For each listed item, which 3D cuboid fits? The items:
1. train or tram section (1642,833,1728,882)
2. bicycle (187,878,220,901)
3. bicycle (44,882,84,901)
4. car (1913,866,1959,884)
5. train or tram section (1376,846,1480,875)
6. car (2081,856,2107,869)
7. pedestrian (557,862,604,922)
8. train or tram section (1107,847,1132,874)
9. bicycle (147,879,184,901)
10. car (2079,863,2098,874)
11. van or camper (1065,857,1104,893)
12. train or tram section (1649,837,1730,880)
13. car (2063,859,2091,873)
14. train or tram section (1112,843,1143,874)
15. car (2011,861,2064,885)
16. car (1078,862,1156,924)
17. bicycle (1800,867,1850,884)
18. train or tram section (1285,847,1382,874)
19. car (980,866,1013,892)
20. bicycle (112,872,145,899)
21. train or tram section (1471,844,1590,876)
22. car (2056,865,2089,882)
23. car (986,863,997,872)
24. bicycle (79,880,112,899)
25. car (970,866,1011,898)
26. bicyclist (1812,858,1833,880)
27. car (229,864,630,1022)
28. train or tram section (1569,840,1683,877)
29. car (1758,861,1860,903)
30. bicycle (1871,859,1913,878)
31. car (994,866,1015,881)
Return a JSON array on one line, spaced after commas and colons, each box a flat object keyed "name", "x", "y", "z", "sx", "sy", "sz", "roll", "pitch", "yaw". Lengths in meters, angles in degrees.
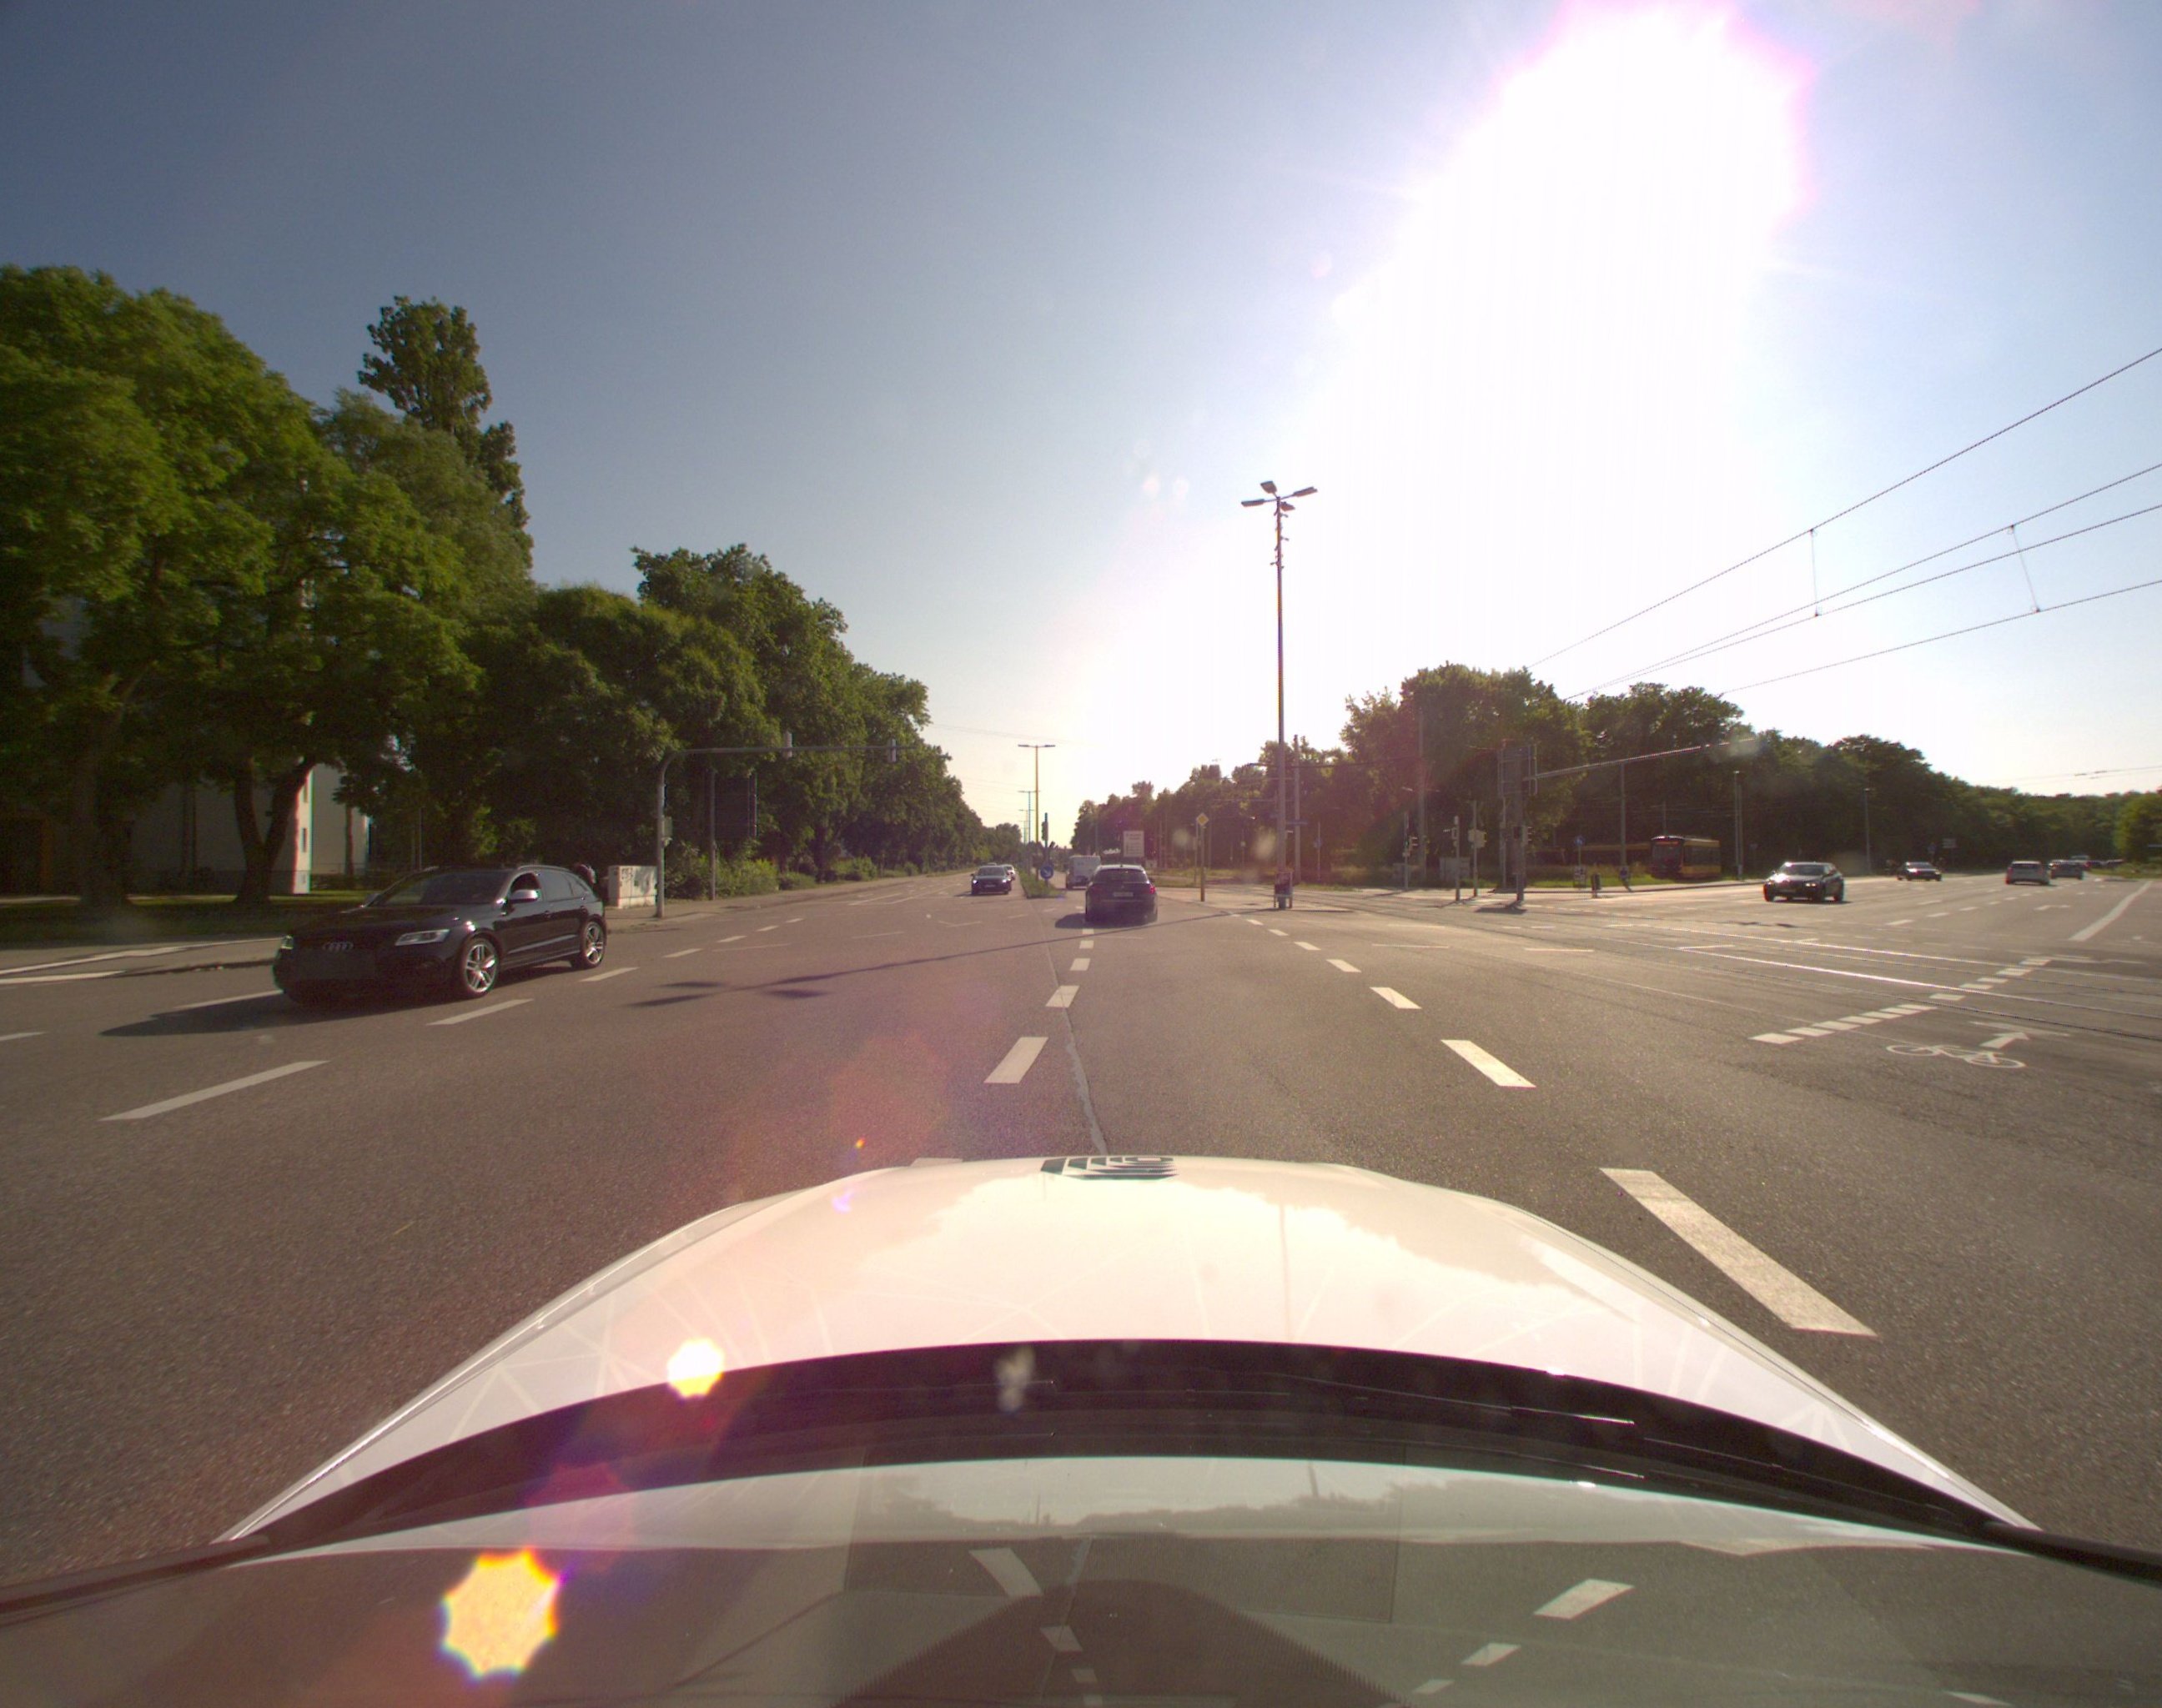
[{"name": "train or tram section", "x": 47.872, "y": 0.290, "z": 64.338, "sx": 11.914, "sy": 3.580, "sz": 3.017, "roll": 0, "pitch": -1, "yaw": -41}, {"name": "bicycle", "x": -37.741, "y": 1.506, "z": 35.042, "sx": 0.674, "sy": 0.920, "sz": 2.378, "roll": 1, "pitch": -1, "yaw": -40}, {"name": "bicycle", "x": -40.732, "y": 1.483, "z": 32.625, "sx": 0.588, "sy": 0.708, "sz": 2.212, "roll": 1, "pitch": -1, "yaw": -40}, {"name": "car", "x": 65.330, "y": 1.586, "z": 62.226, "sx": 4.324, "sy": 1.335, "sz": 1.731, "roll": 0, "pitch": -1, "yaw": -34}, {"name": "train or tram section", "x": 44.825, "y": 0.871, "z": 105.481, "sx": 12.074, "sy": 3.580, "sz": 3.073, "roll": -1, "pitch": -1, "yaw": 30}, {"name": "car", "x": 164.391, "y": 1.412, "z": 132.172, "sx": 4.808, "sy": 2.077, "sz": 2.418, "roll": 0, "pitch": -1, "yaw": -36}, {"name": "pedestrian", "x": -15.093, "y": 1.132, "z": 24.582, "sx": 0.813, "sy": 1.752, "sz": 0.931, "roll": 0, "pitch": -1, "yaw": -1}, {"name": "train or tram section", "x": 5.407, "y": 1.021, "z": 115.874, "sx": 2.742, "sy": 3.554, "sz": 11.247, "roll": 1, "pitch": -1, "yaw": -2}, {"name": "bicycle", "x": -38.567, "y": 1.500, "z": 34.336, "sx": 0.679, "sy": 0.875, "sz": 2.456, "roll": 1, "pitch": -1, "yaw": -40}, {"name": "car", "x": 140.689, "y": 2.020, "z": 113.717, "sx": 3.546, "sy": 1.384, "sz": 1.588, "roll": 1, "pitch": -1, "yaw": -38}, {"name": "van or camper", "x": 0.141, "y": 1.232, "z": 49.476, "sx": 1.990, "sy": 2.096, "sz": 4.590, "roll": 0, "pitch": -1, "yaw": -5}, {"name": "train or tram section", "x": 55.238, "y": 0.423, "z": 74.321, "sx": 3.017, "sy": 3.580, "sz": 12.297, "roll": -1, "pitch": -1, "yaw": 23}, {"name": "car", "x": 102.592, "y": 1.260, "z": 83.858, "sx": 3.545, "sy": 1.384, "sz": 1.589, "roll": 0, "pitch": -1, "yaw": -36}, {"name": "train or tram section", "x": 5.791, "y": 0.715, "z": 103.814, "sx": 2.789, "sy": 3.619, "sz": 12.942, "roll": 1, "pitch": -1, "yaw": -2}, {"name": "car", "x": 65.580, "y": 1.261, "z": 55.825, "sx": 4.220, "sy": 1.563, "sz": 1.836, "roll": 0, "pitch": -1, "yaw": -34}, {"name": "car", "x": 0.915, "y": 0.983, "z": 21.903, "sx": 1.896, "sy": 1.506, "sz": 4.065, "roll": 0, "pitch": -1, "yaw": 1}, {"name": "bicycle", "x": 67.941, "y": 1.953, "z": 74.384, "sx": 1.134, "sy": 1.454, "sz": 3.199, "roll": 1, "pitch": -2, "yaw": -28}, {"name": "train or tram section", "x": 34.351, "y": 0.969, "z": 110.985, "sx": 12.286, "sy": 3.580, "sz": 3.071, "roll": -1, "pitch": -1, "yaw": 25}, {"name": "car", "x": -4.913, "y": 1.435, "z": 47.710, "sx": 1.826, "sy": 1.435, "sz": 4.372, "roll": -1, "pitch": -1, "yaw": -5}, {"name": "bicycle", "x": -39.210, "y": 1.298, "z": 33.537, "sx": 0.616, "sy": 1.066, "sz": 1.894, "roll": 2, "pitch": -3, "yaw": -42}, {"name": "train or tram section", "x": 53.375, "y": 0.729, "z": 97.204, "sx": 3.069, "sy": 3.580, "sz": 12.088, "roll": 1, "pitch": -1, "yaw": -39}, {"name": "car", "x": 86.770, "y": 1.707, "z": 71.261, "sx": 3.545, "sy": 1.384, "sz": 1.589, "roll": 0, "pitch": -1, "yaw": -36}, {"name": "car", "x": -16.457, "y": 2.467, "z": 149.889, "sx": 1.786, "sy": 1.772, "sz": 4.561, "roll": 0, "pitch": -1, "yaw": -5}, {"name": "bicycle", "x": -40.036, "y": 1.416, "z": 33.100, "sx": 0.509, "sy": 0.708, "sz": 2.091, "roll": 1, "pitch": -1, "yaw": -40}, {"name": "car", "x": -4.515, "y": 1.376, "z": 41.228, "sx": 1.826, "sy": 1.431, "sz": 4.724, "roll": -1, "pitch": -1, "yaw": -4}, {"name": "bicyclist", "x": 67.851, "y": 1.371, "z": 74.555, "sx": 1.143, "sy": 2.014, "sz": 1.089, "roll": 1, "pitch": -2, "yaw": -29}, {"name": "car", "x": -8.244, "y": 0.981, "z": 10.996, "sx": 1.984, "sy": 1.659, "sz": 4.380, "roll": -1, "pitch": -1, "yaw": -2}, {"name": "train or tram section", "x": 57.230, "y": 0.511, "z": 86.150, "sx": 3.039, "sy": 3.580, "sz": 12.209, "roll": 0, "pitch": -1, "yaw": -5}, {"name": "car", "x": 30.339, "y": 1.097, "z": 33.918, "sx": 4.881, "sy": 1.563, "sz": 2.023, "roll": -1, "pitch": 0, "yaw": -34}, {"name": "bicycle", "x": 74.662, "y": 1.287, "z": 74.974, "sx": 0.798, "sy": 1.713, "sz": 2.586, "roll": 1, "pitch": -1, "yaw": -32}, {"name": "car", "x": -7.442, "y": 1.872, "z": 79.184, "sx": 1.844, "sy": 1.477, "sz": 4.640, "roll": 0, "pitch": -1, "yaw": -3}]
